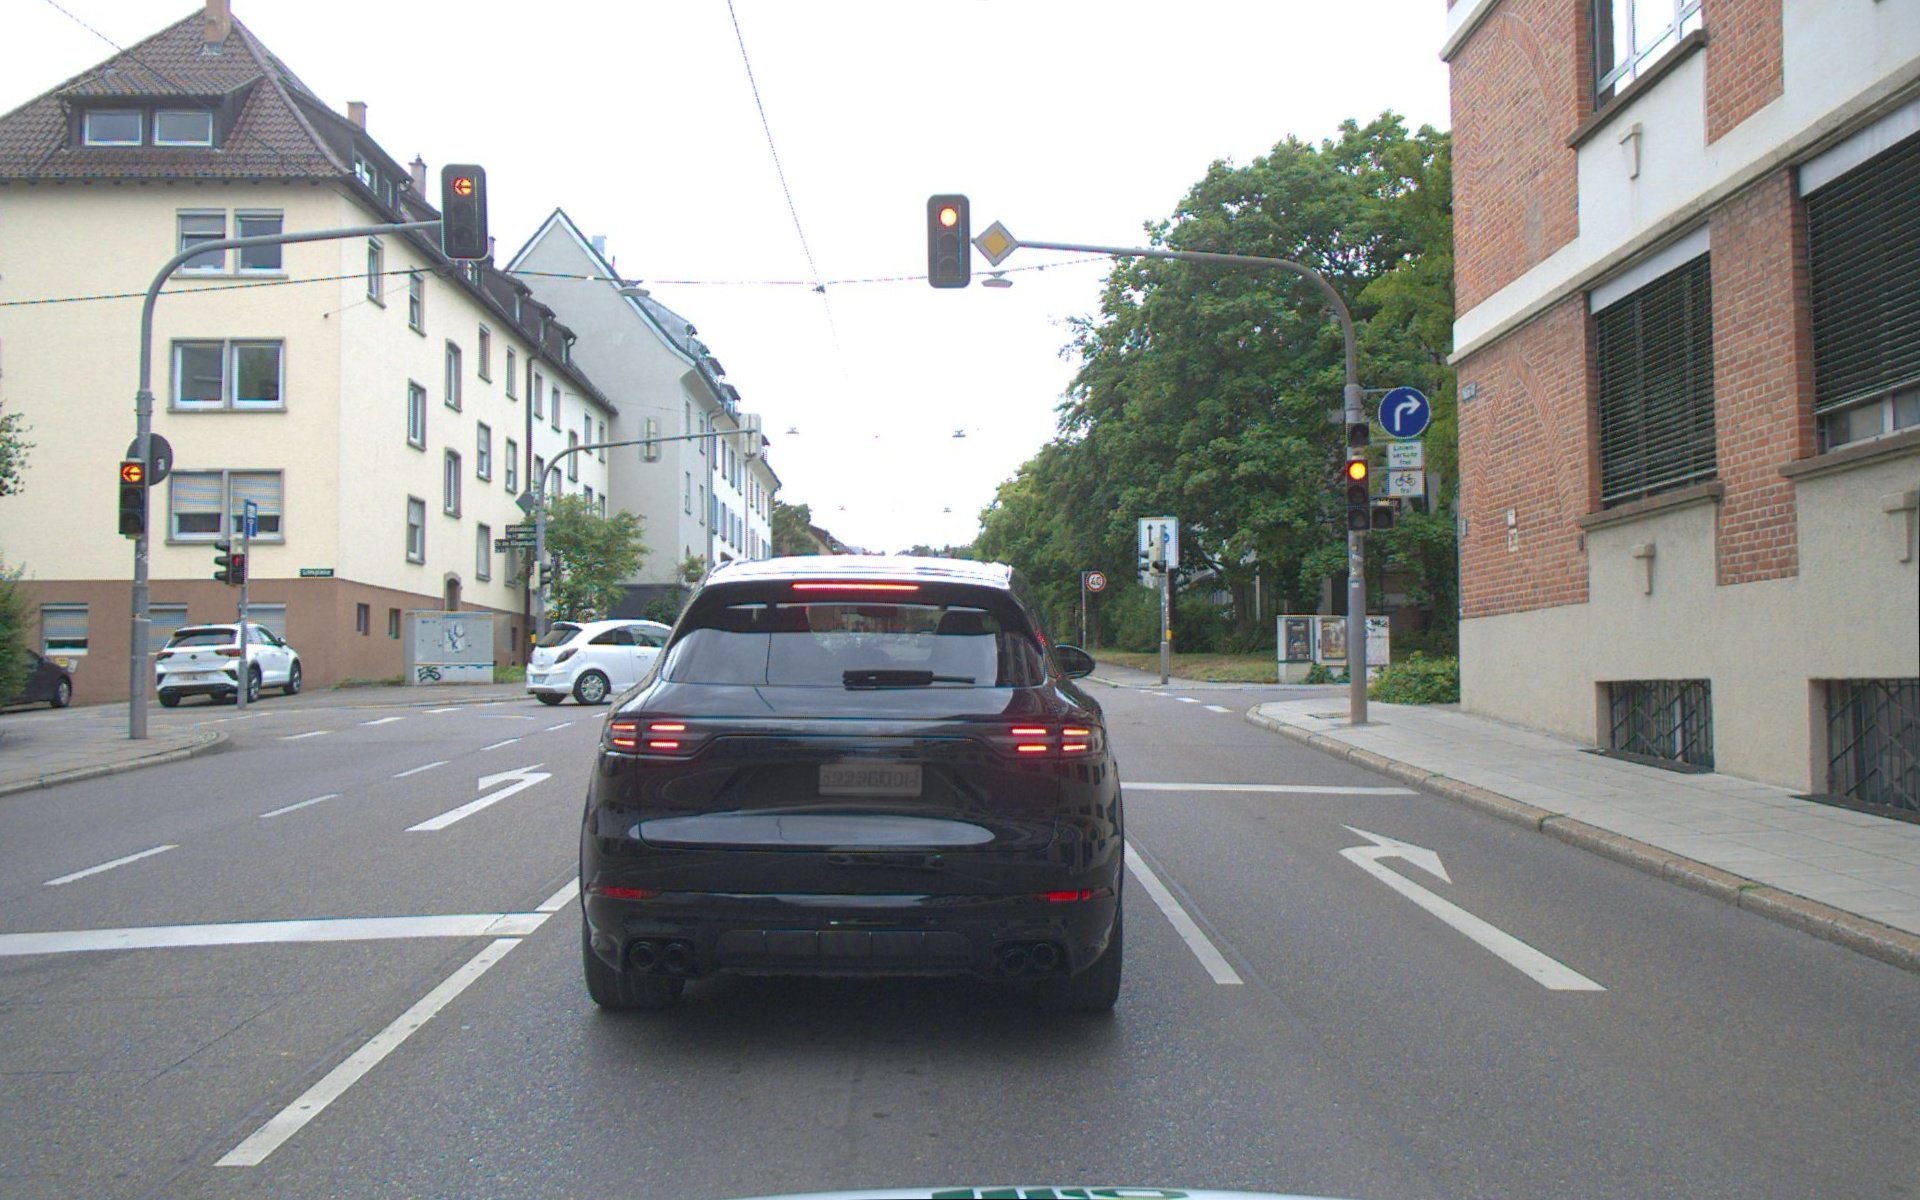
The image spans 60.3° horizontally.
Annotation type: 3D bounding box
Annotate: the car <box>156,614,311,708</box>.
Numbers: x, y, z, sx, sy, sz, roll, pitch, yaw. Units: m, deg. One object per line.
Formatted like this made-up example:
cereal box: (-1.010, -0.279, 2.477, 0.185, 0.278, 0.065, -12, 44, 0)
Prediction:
car: (-14.714, 1.191, 33.726, 1.638, 1.691, 3.995, -3, 0, -5)

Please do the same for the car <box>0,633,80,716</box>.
car: (-19.659, 1.528, 33.311, 1.636, 1.573, 4.100, -3, 0, -1)

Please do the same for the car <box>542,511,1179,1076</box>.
car: (-0.332, 0.613, 7.145, 1.953, 1.726, 3.999, 1, 0, -1)

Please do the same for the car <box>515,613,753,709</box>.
car: (-5.762, 1.058, 29.454, 3.850, 1.579, 1.670, 1, 0, -39)
